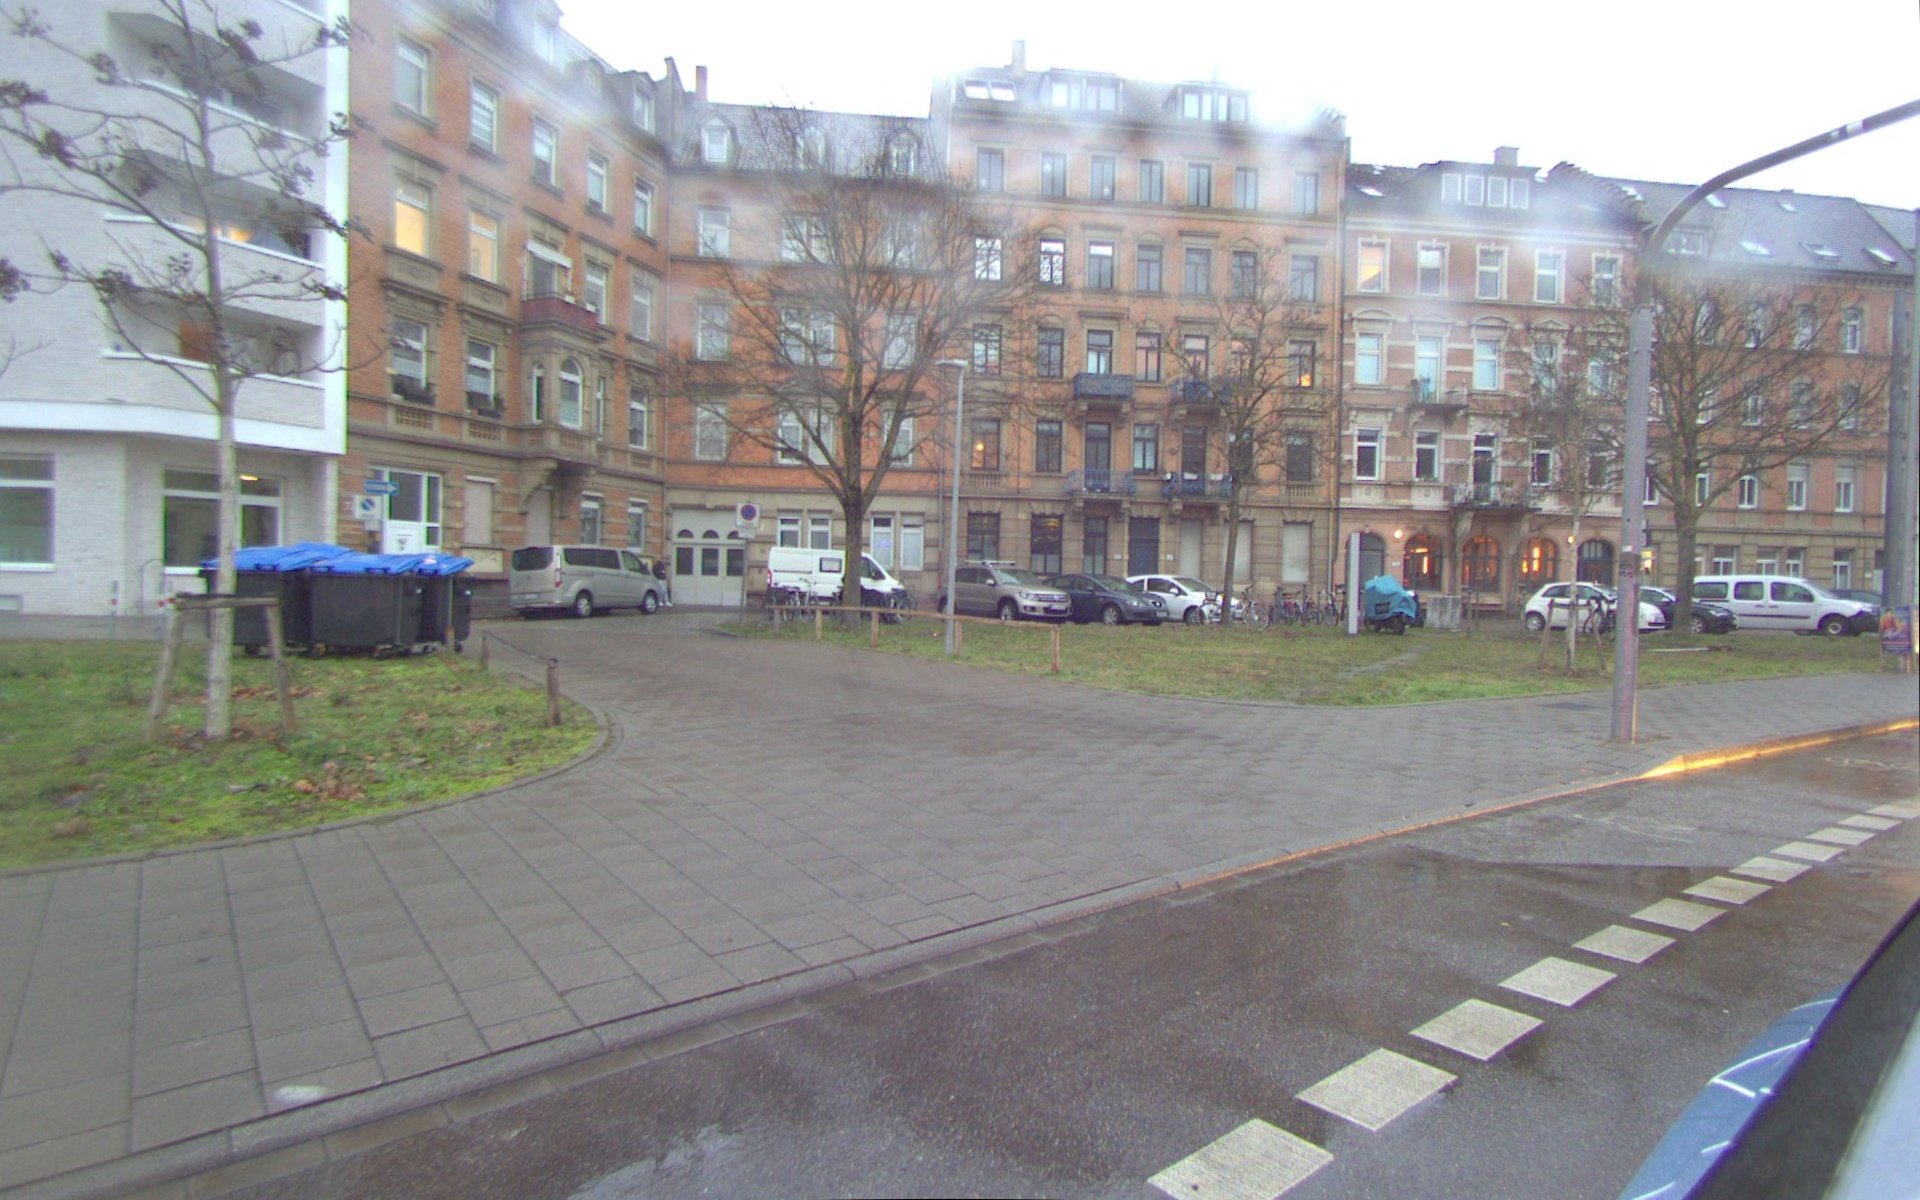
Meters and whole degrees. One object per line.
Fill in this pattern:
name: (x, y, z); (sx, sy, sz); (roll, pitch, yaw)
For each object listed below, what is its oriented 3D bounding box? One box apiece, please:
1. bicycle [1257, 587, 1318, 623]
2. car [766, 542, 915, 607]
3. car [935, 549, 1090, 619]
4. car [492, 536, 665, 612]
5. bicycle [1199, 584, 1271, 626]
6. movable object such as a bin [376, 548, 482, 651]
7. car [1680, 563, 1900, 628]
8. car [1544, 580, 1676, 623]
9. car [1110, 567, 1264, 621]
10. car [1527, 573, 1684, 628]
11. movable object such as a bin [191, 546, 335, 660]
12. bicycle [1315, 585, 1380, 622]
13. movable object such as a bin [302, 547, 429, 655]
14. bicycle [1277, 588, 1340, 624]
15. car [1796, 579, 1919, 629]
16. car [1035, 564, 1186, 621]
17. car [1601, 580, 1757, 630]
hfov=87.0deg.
bicycle: (9.404, 0.143, 29.176); (0.613, 0.978, 2.175); (3, -1, -13)
car: (-4.070, -0.878, 34.508); (4.885, 2.038, 2.004); (1, 2, -8)
car: (1.289, -0.480, 26.403); (1.908, 1.656, 4.000); (-1, 3, -37)
car: (-10.593, -0.633, 28.552); (1.976, 1.943, 4.715); (-1, -1, 21)
bicycle: (6.624, 0.109, 24.418); (1.628, 0.948, 0.512); (2, 1, 15)
movable object such as a bin: (-8.044, 0.001, 15.367); (1.022, 1.509, 1.035); (0, -1, 6)
car: (24.139, -0.191, 29.597); (1.745, 1.611, 4.663); (0, 3, -37)
car: (24.228, 0.079, 37.771); (3.967, 1.520, 1.740); (1, -1, -9)
car: (6.108, -0.198, 27.563); (1.669, 1.353, 3.852); (0, 1, -42)
car: (18.435, 0.021, 29.012); (1.583, 1.461, 3.467); (1, 0, -34)
movable object such as a bin: (-9.644, 0.037, 14.069); (1.303, 1.514, 1.032); (1, 1, -4)
bicycle: (11.204, 0.080, 29.346); (0.613, 0.978, 2.176); (1, 2, -13)
movable object such as a bin: (-8.314, -0.004, 14.216); (1.200, 1.433, 1.018); (1, 2, -3)
bicycle: (10.056, 0.172, 29.302); (0.613, 0.978, 2.175); (3, -1, -13)
car: (27.192, 0.152, 29.444); (1.737, 1.250, 4.066); (2, 3, -35)
car: (3.894, -0.192, 26.661); (1.649, 1.372, 3.737); (2, 0, -42)
car: (21.031, 0.123, 29.696); (1.634, 1.368, 3.430); (1, 0, -39)
